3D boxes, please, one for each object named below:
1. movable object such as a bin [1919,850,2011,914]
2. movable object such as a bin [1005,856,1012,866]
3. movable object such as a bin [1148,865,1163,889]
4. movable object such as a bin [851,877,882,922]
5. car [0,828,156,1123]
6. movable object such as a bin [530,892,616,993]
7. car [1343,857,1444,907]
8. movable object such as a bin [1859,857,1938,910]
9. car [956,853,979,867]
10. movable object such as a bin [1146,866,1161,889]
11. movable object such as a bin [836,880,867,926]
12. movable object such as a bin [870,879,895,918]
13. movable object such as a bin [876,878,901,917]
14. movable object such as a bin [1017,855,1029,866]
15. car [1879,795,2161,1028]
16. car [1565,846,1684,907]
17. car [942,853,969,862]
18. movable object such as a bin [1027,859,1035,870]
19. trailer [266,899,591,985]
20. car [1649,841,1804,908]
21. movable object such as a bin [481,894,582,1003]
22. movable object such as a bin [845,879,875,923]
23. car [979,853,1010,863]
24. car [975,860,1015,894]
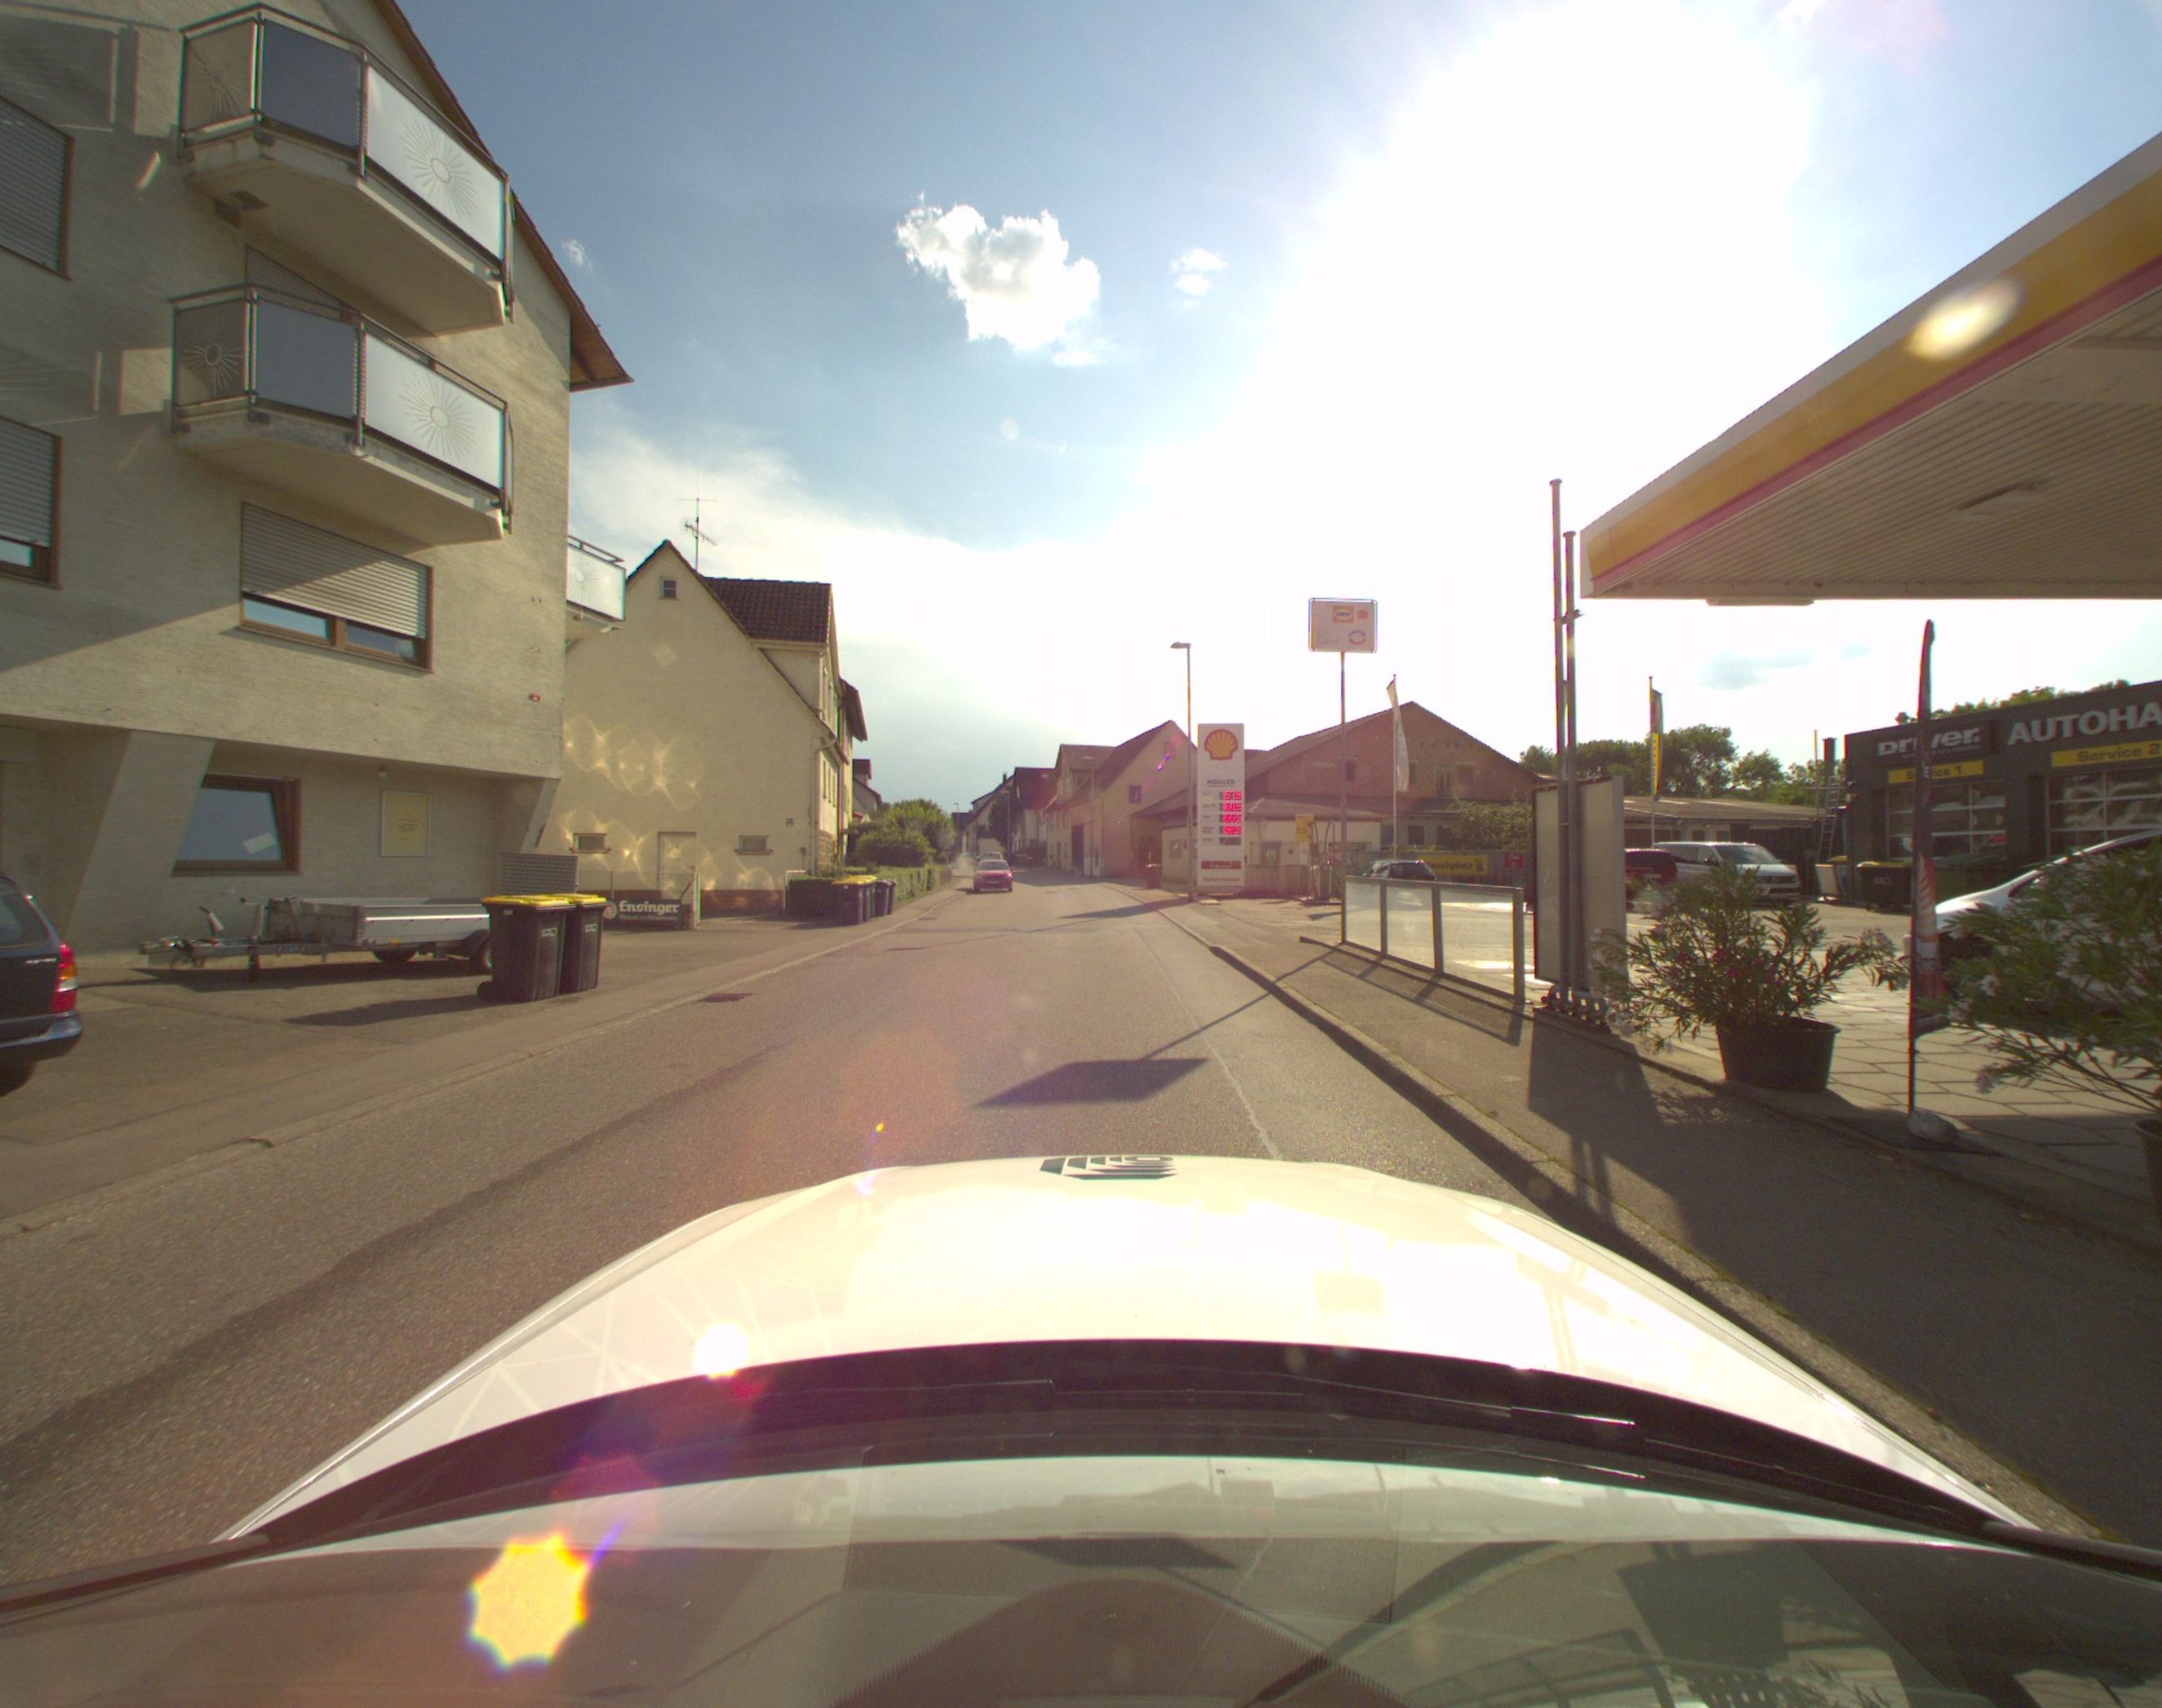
[{"bbox_3d":[21.852,0.671,20.162,0.984,1.530,1.209,0,0,0],"label":"movable object such as a bin"},{"bbox_3d":[-7.523,0.726,84.368,0.654,1.073,0.510,0,-1,-14],"label":"movable object such as a bin"},{"bbox_3d":[3.385,1.045,36.969,0.651,1.073,0.513,0,0,-2],"label":"movable object such as a bin"},{"bbox_3d":[-5.583,1.164,21.204,0.586,1.122,0.617,-2,-1,1],"label":"movable object such as a bin"},{"bbox_3d":[-7.830,0.553,4.552,3.960,1.538,1.769,4,1,13],"label":"car"},{"bbox_3d":[-5.775,0.995,9.289,0.568,1.071,0.558,3,-1,1],"label":"movable object such as a bin"},{"bbox_3d":[9.818,0.827,25.939,1.573,1.427,4.380,1,0,0],"label":"car"},{"bbox_3d":[21.952,0.779,21.900,0.986,1.376,1.126,0,0,-4],"label":"movable object such as a bin"},{"bbox_3d":[-13.496,0.721,96.788,1.712,1.578,3.970,0,0,-22],"label":"car"},{"bbox_3d":[3.327,1.070,37.506,0.651,1.073,0.513,0,0,-2],"label":"movable object such as a bin"},{"bbox_3d":[-5.648,1.188,20.034,0.586,1.084,0.508,-2,-1,1],"label":"movable object such as a bin"},{"bbox_3d":[-5.321,1.185,21.860,0.529,1.022,0.457,-2,-1,1],"label":"movable object such as a bin"},{"bbox_3d":[-5.277,1.182,22.345,0.529,1.022,0.457,-2,-1,1],"label":"movable object such as a bin"},{"bbox_3d":[-6.118,0.648,86.234,1.161,1.168,0.652,0,0,-11],"label":"movable object such as a bin"},{"bbox_3d":[8.135,0.382,5.489,1.665,1.577,4.000,-1,0,2],"label":"car"},{"bbox_3d":[16.999,0.637,25.674,1.570,1.792,3.636,-1,0,5],"label":"car"},{"bbox_3d":[-19.296,0.587,125.487,3.992,1.352,1.702,0,0,-14],"label":"car"},{"bbox_3d":[-4.684,0.994,76.111,0.654,1.073,0.510,0,-1,-14],"label":"movable object such as a bin"},{"bbox_3d":[-8.032,1.029,10.318,1.319,0.855,2.904,2,-2,19],"label":"trailer"},{"bbox_3d":[20.200,0.569,25.750,1.570,1.923,4.558,-1,0,5],"label":"car"},{"bbox_3d":[-5.854,0.991,8.702,0.597,1.071,0.619,3,-1,1],"label":"movable object such as a bin"},{"bbox_3d":[-5.590,1.181,20.605,0.586,1.084,0.530,-2,-1,1],"label":"movable object such as a bin"},{"bbox_3d":[-11.336,0.492,106.686,3.983,1.352,1.706,0,0,-8],"label":"car"},{"bbox_3d":[-3.914,1.021,37.181,1.707,1.435,3.772,-2,-1,-6],"label":"car"}]
